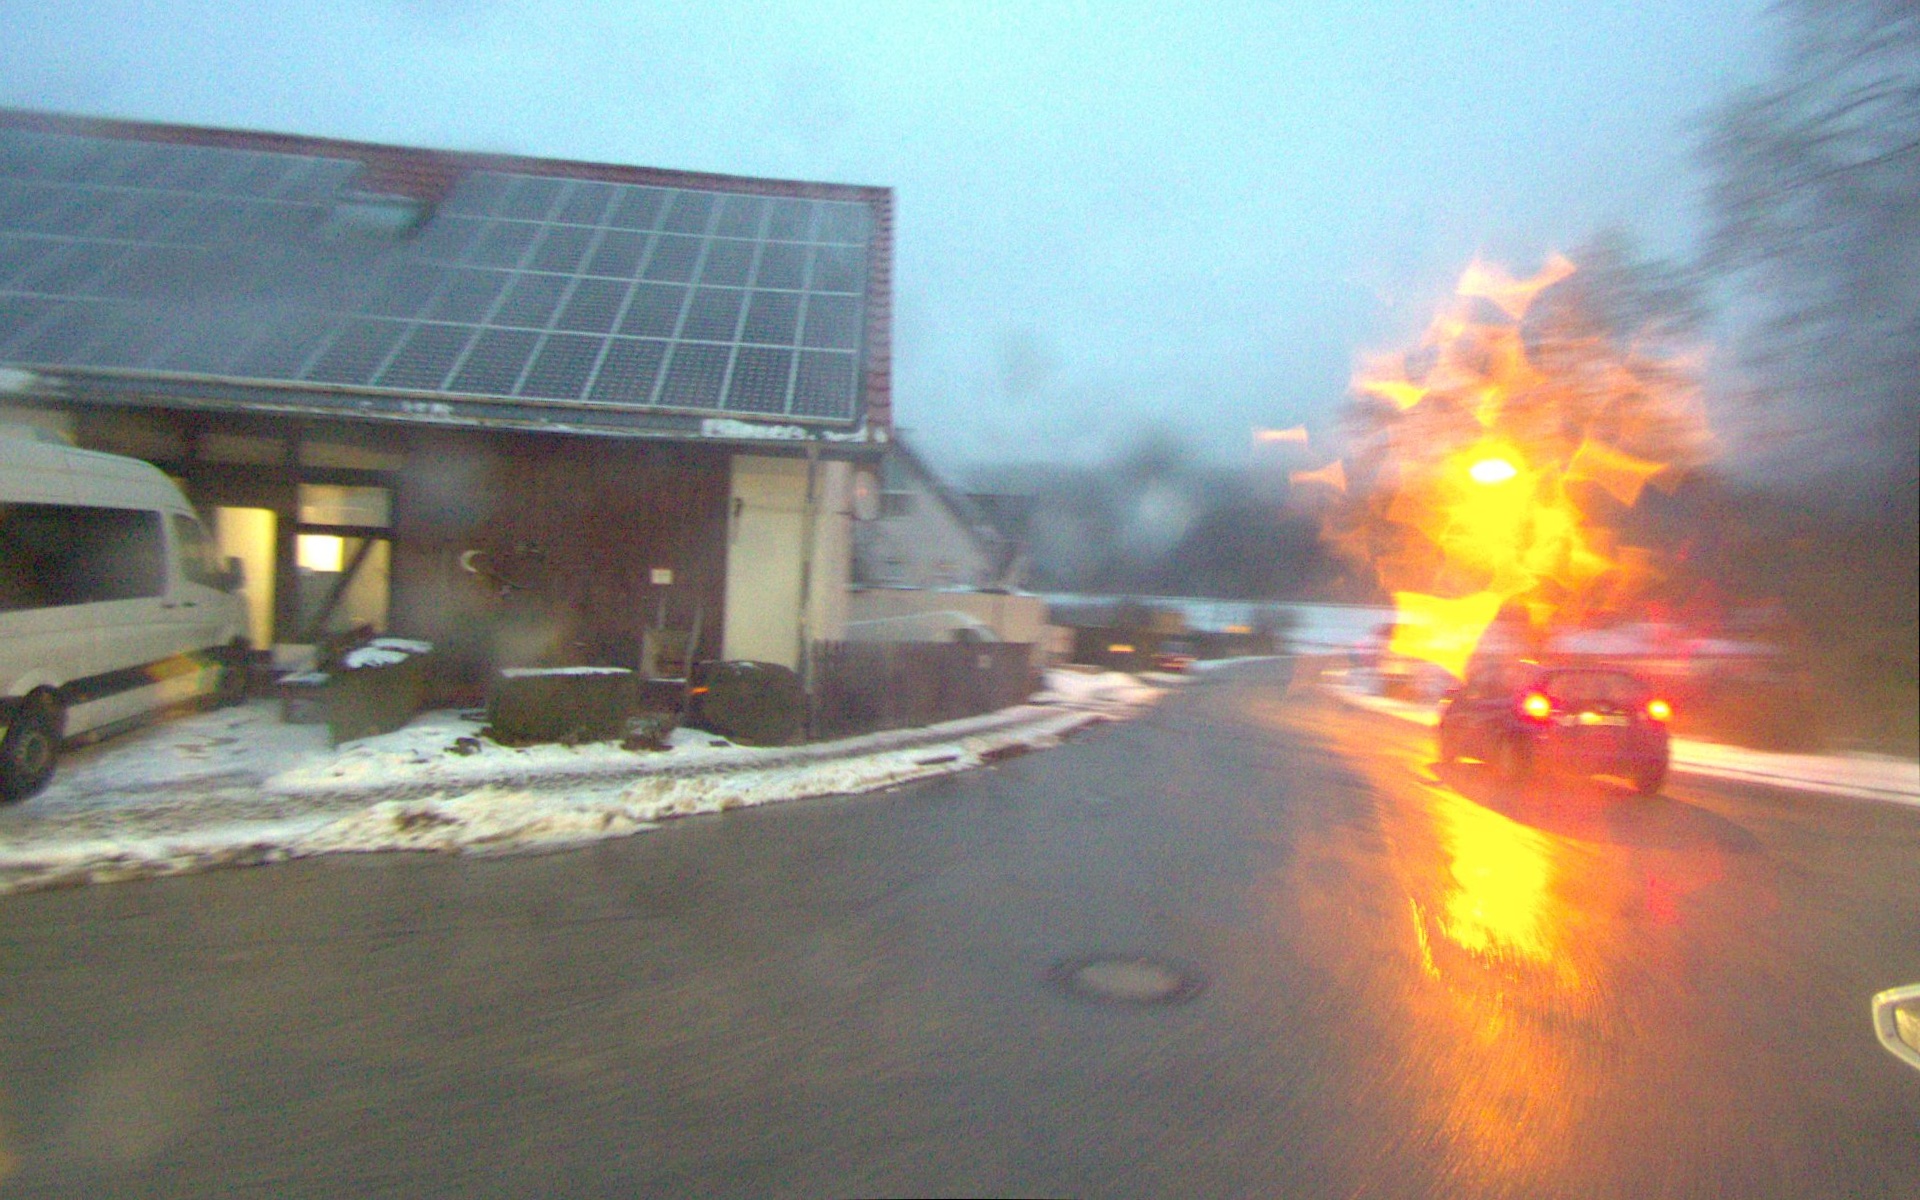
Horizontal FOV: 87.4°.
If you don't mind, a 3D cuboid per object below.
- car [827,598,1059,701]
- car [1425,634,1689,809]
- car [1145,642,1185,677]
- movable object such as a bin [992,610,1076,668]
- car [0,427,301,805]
[{"bbox_3d":[-0.334,1.224,24.417,5.171,2.039,2.217,3,-4,11],"label":"car"},{"bbox_3d":[7.344,1.377,12.780,1.791,1.820,3.580,1,-2,12],"label":"car"},{"bbox_3d":[10.661,3.060,52.081,1.689,1.554,3.518,3,0,15],"label":"car"},{"bbox_3d":[2.565,1.364,34.936,2.332,1.670,1.437,7,1,35],"label":"movable object such as a bin"},{"bbox_3d":[-8.116,-0.094,8.889,1.967,2.588,6.094,3,3,-16],"label":"car"}]
